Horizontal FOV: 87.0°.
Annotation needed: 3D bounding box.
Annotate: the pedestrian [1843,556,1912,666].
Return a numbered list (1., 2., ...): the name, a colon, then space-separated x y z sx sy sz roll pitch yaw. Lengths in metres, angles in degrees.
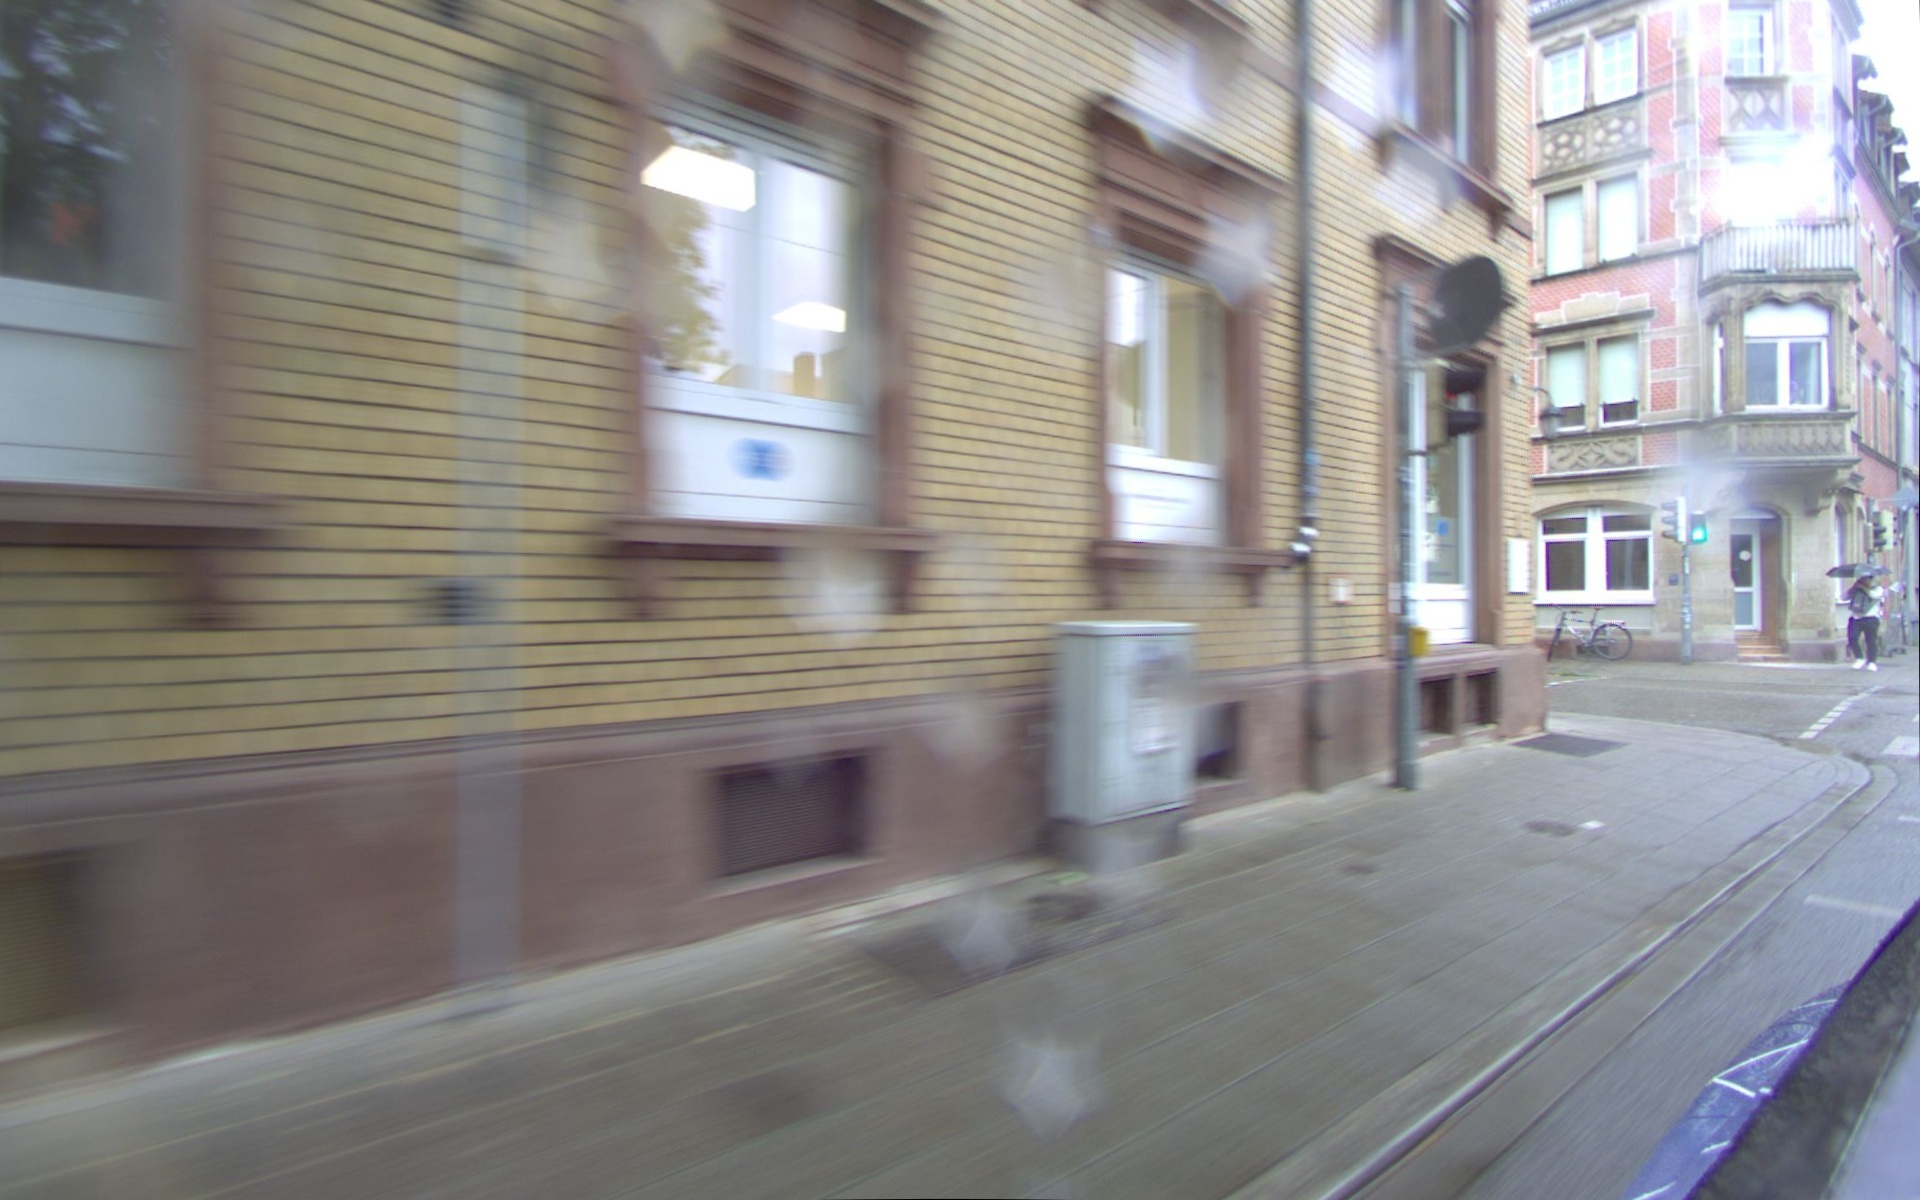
1. pedestrian: 16.735 0.169 18.470 0.913 1.937 0.786 -1 3 -41

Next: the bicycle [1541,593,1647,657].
1. bicycle: 12.898 0.528 20.617 1.685 1.237 0.668 -4 -2 44
